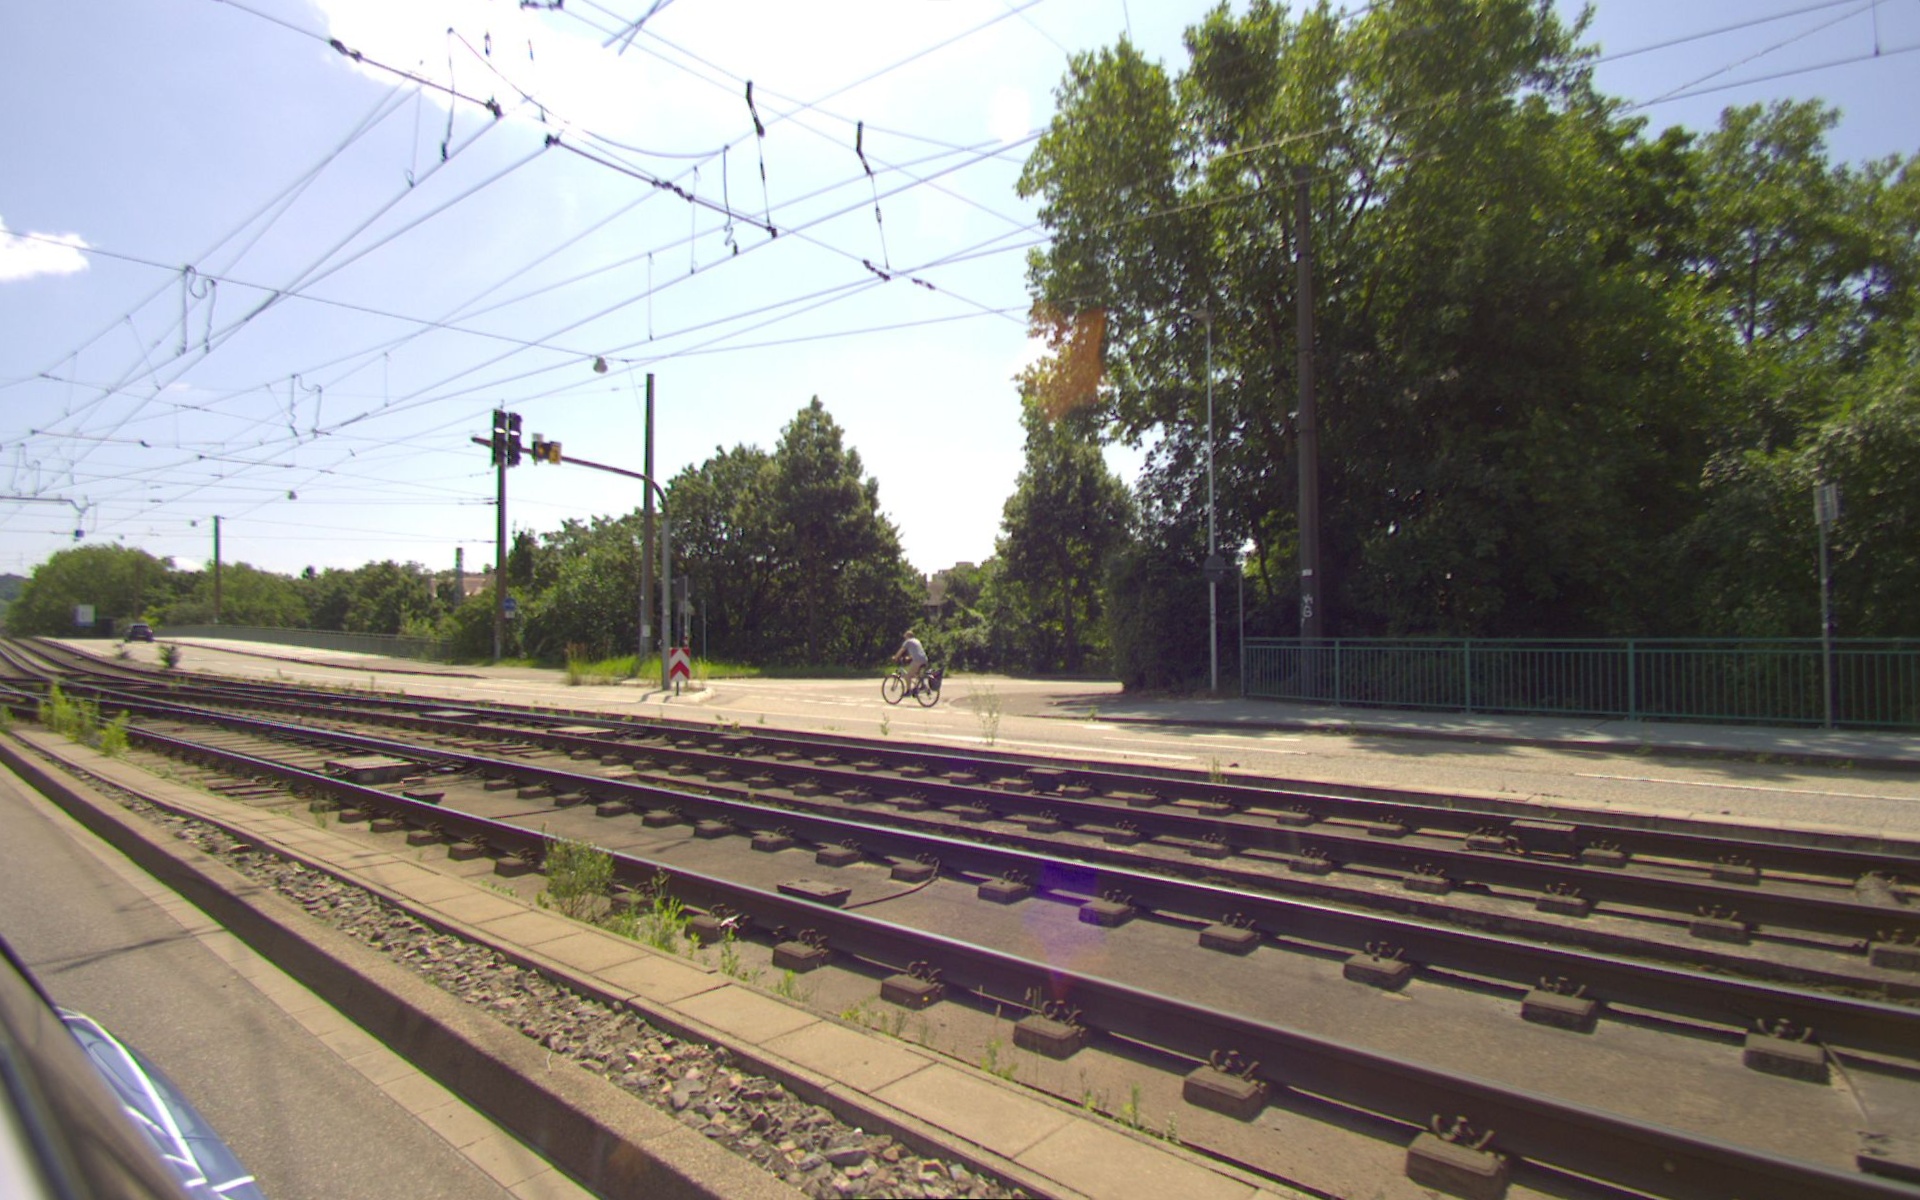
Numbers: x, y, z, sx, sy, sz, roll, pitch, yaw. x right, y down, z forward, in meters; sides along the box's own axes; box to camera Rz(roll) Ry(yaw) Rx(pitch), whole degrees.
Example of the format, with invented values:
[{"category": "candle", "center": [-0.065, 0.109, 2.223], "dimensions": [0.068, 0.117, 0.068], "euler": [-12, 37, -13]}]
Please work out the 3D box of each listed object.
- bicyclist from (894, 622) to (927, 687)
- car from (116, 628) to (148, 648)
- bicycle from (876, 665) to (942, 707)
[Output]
[{"category": "bicyclist", "center": [-1.142, 1.251, 23.486], "dimensions": [0.633, 1.485, 0.451], "euler": [-2, -2, 44]}, {"category": "car", "center": [-67.917, 3.111, 83.012], "dimensions": [1.685, 1.522, 3.735], "euler": [3, -3, -44]}, {"category": "bicycle", "center": [-1.194, 1.977, 23.529], "dimensions": [1.743, 0.875, 0.463], "euler": [-2, -2, 44]}]
